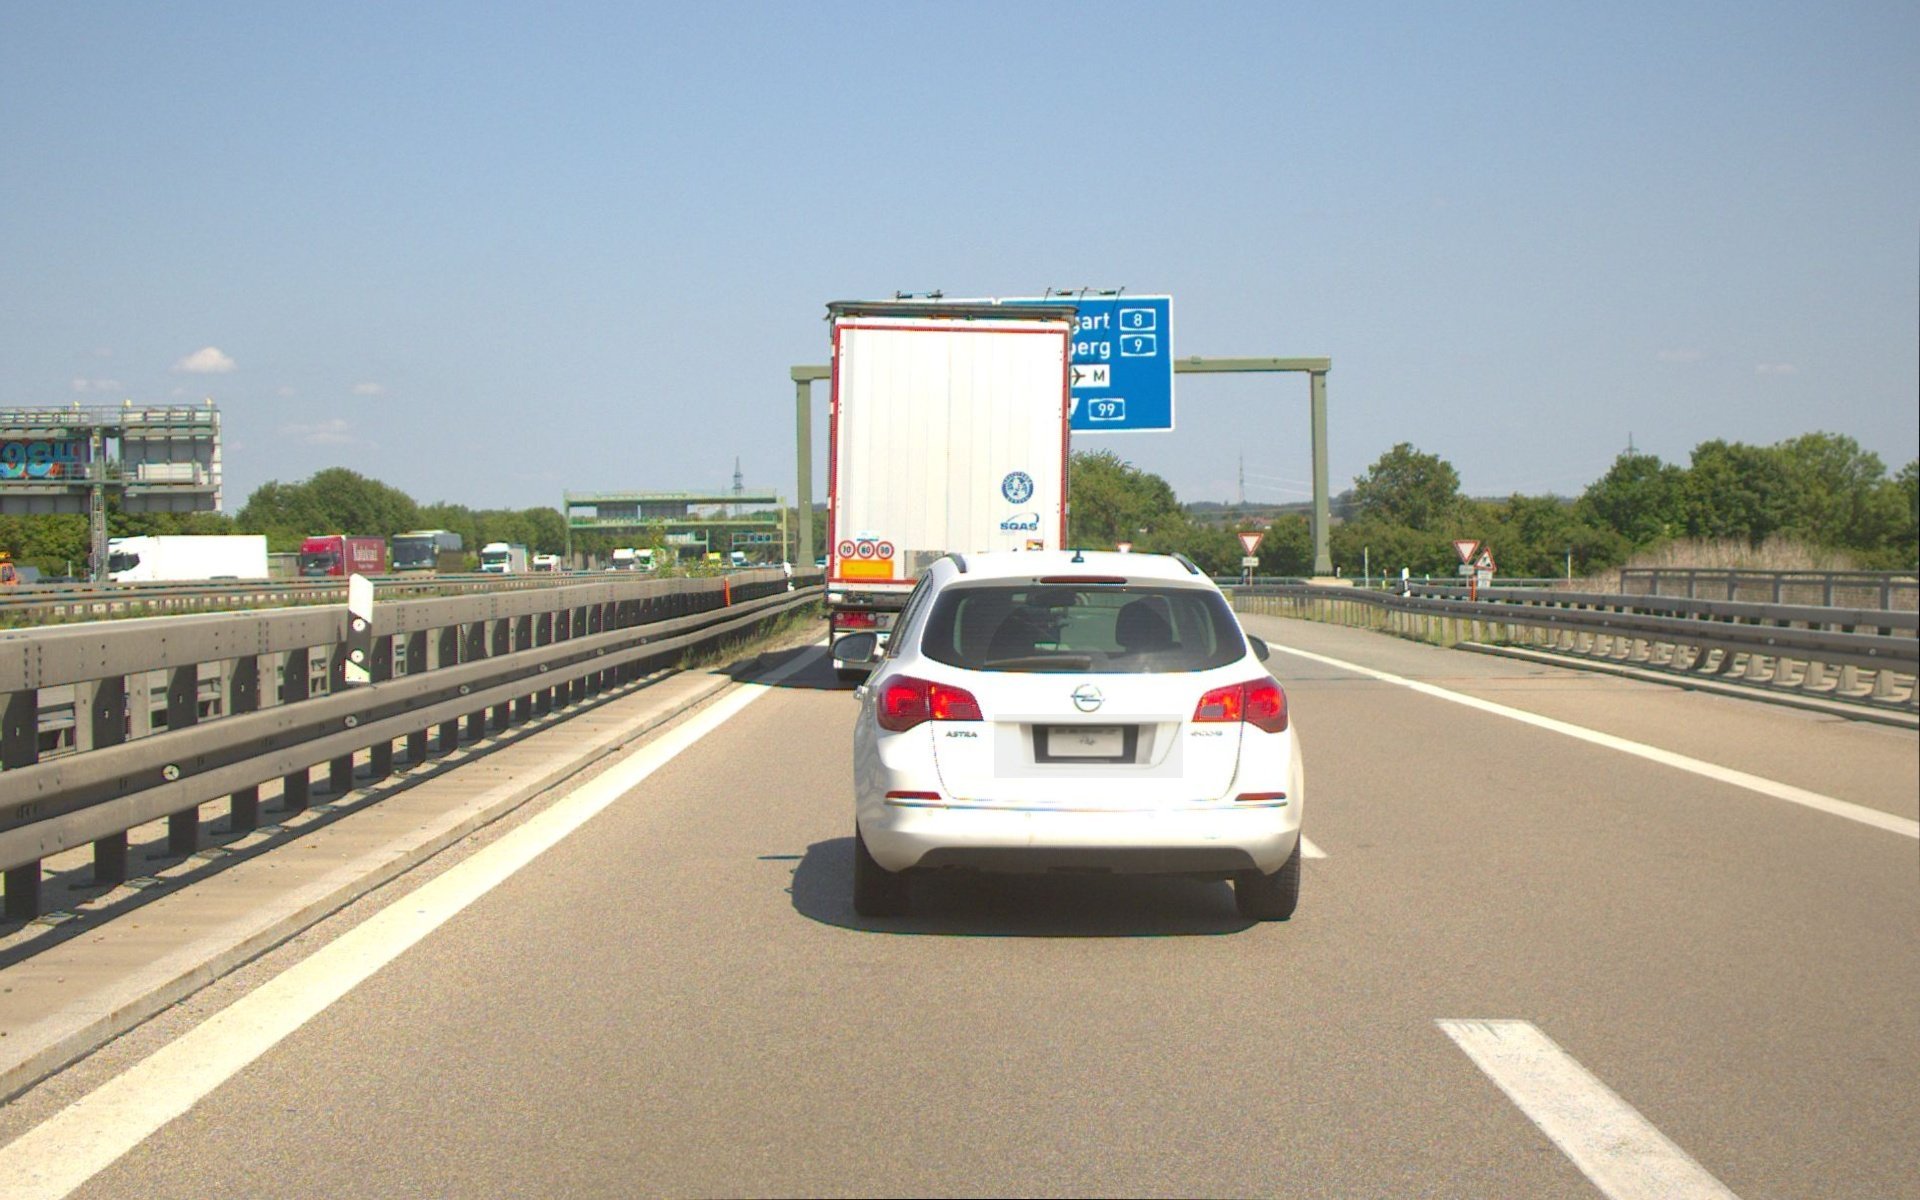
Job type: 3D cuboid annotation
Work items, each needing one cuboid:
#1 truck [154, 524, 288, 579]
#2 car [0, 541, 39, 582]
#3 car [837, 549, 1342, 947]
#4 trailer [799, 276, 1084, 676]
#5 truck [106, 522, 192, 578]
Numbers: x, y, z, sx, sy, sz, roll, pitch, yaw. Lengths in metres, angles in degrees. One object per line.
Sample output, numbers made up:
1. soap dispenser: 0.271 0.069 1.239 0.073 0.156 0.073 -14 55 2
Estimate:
1. truck: -45.447 -3.058 212.005 1.995 3.289 12.160 0 1 19
2. car: -36.167 -1.453 128.867 1.838 1.512 5.298 0 1 0
3. car: 0.478 0.515 14.922 1.854 1.438 4.372 1 1 0
4. trailer: -0.188 -1.330 41.536 2.912 4.131 11.258 1 0 0
5. truck: -48.306 -2.994 204.812 1.996 3.289 5.379 0 1 26
